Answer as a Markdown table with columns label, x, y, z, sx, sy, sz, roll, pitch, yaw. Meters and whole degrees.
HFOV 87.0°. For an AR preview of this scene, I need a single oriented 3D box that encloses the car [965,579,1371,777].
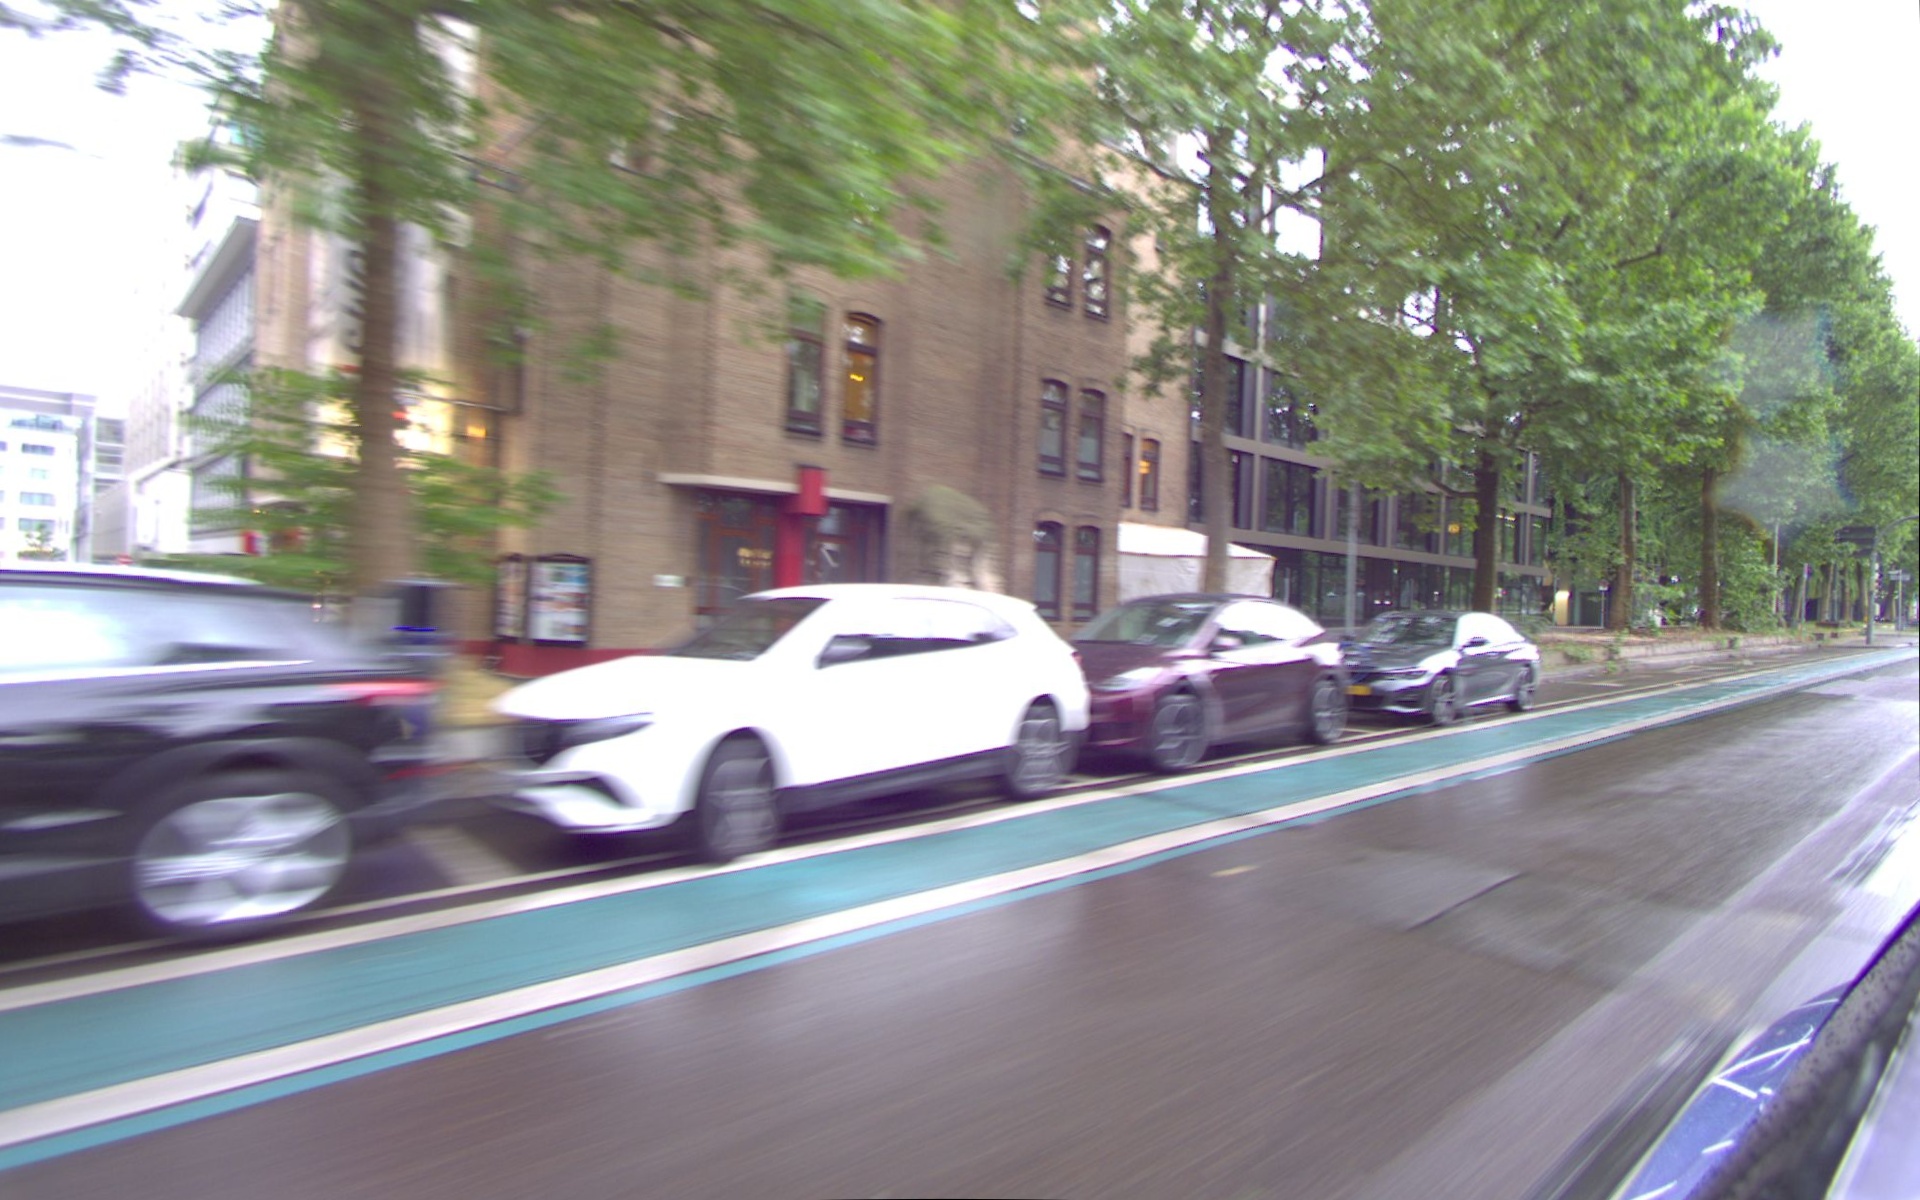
| label | x | y | z | sx | sy | sz | roll | pitch | yaw |
| --- | --- | --- | --- | --- | --- | --- | --- | --- | --- |
| car | 2.336 | 0.642 | 10.525 | 4.485 | 1.609 | 1.995 | 1 | 0 | -45 |

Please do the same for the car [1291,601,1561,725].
| label | x | y | z | sx | sy | sz | roll | pitch | yaw |
| --- | --- | --- | --- | --- | --- | --- | --- | --- | --- |
| car | 6.604 | 0.759 | 14.117 | 4.505 | 1.451 | 1.745 | 0 | 0 | -41 |

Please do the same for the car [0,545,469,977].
| label | x | y | z | sx | sy | sz | roll | pitch | yaw |
| --- | --- | --- | --- | --- | --- | --- | --- | --- | --- |
| car | -4.588 | 0.600 | 4.108 | 4.349 | 1.623 | 1.795 | 1 | -1 | -43 |

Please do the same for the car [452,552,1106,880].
| label | x | y | z | sx | sy | sz | roll | pitch | yaw |
| --- | --- | --- | --- | --- | --- | --- | --- | --- | --- |
| car | -0.970 | 0.579 | 7.136 | 1.752 | 1.605 | 4.339 | 0 | 0 | 44 |
